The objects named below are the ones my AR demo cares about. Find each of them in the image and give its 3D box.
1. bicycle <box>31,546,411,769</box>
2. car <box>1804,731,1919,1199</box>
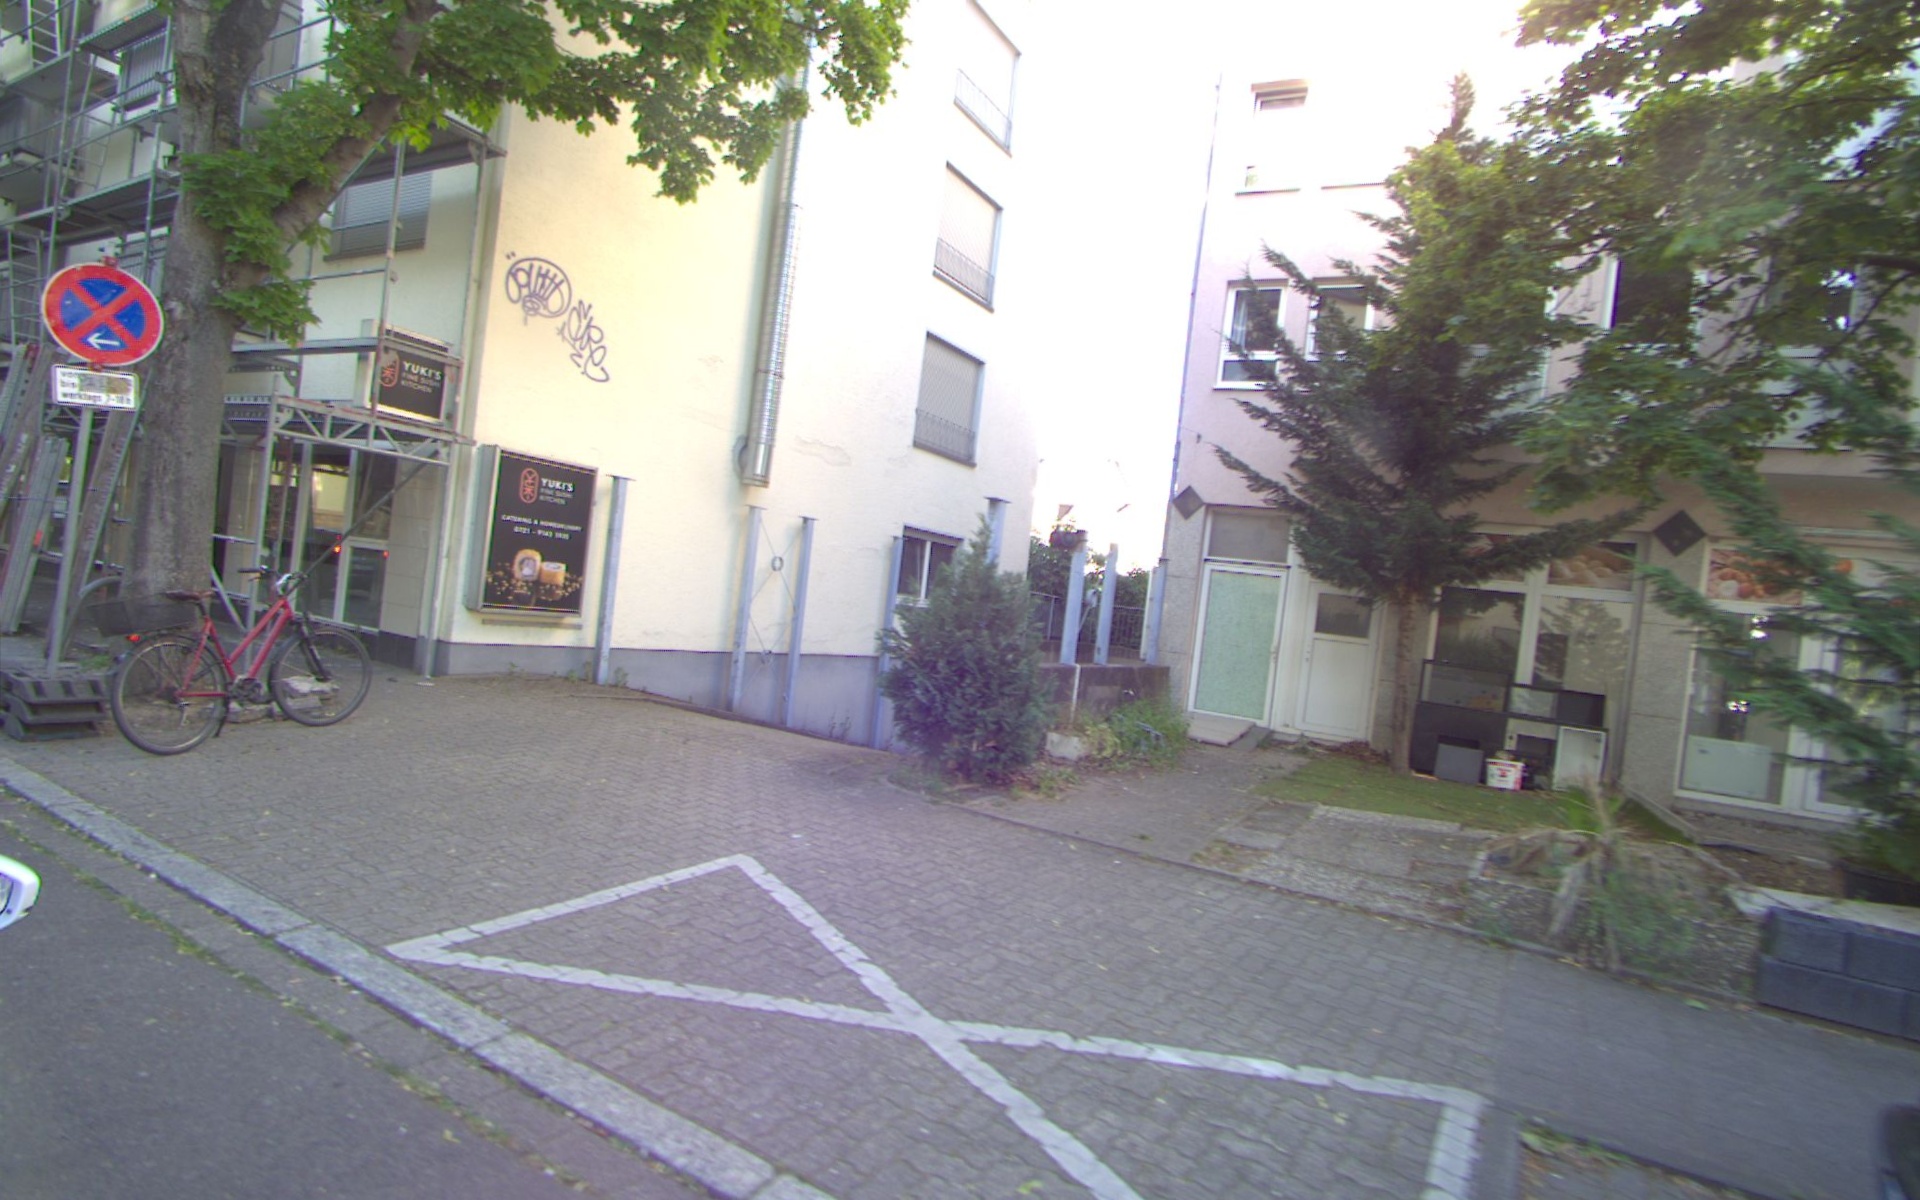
[{"bbox_3d":[-4.727,0.311,6.653,0.713,1.181,1.985,7,3,14],"label":"bicycle"},{"bbox_3d":[3.854,1.287,0.837,4.494,1.407,1.708,8,3,32],"label":"car"}]
